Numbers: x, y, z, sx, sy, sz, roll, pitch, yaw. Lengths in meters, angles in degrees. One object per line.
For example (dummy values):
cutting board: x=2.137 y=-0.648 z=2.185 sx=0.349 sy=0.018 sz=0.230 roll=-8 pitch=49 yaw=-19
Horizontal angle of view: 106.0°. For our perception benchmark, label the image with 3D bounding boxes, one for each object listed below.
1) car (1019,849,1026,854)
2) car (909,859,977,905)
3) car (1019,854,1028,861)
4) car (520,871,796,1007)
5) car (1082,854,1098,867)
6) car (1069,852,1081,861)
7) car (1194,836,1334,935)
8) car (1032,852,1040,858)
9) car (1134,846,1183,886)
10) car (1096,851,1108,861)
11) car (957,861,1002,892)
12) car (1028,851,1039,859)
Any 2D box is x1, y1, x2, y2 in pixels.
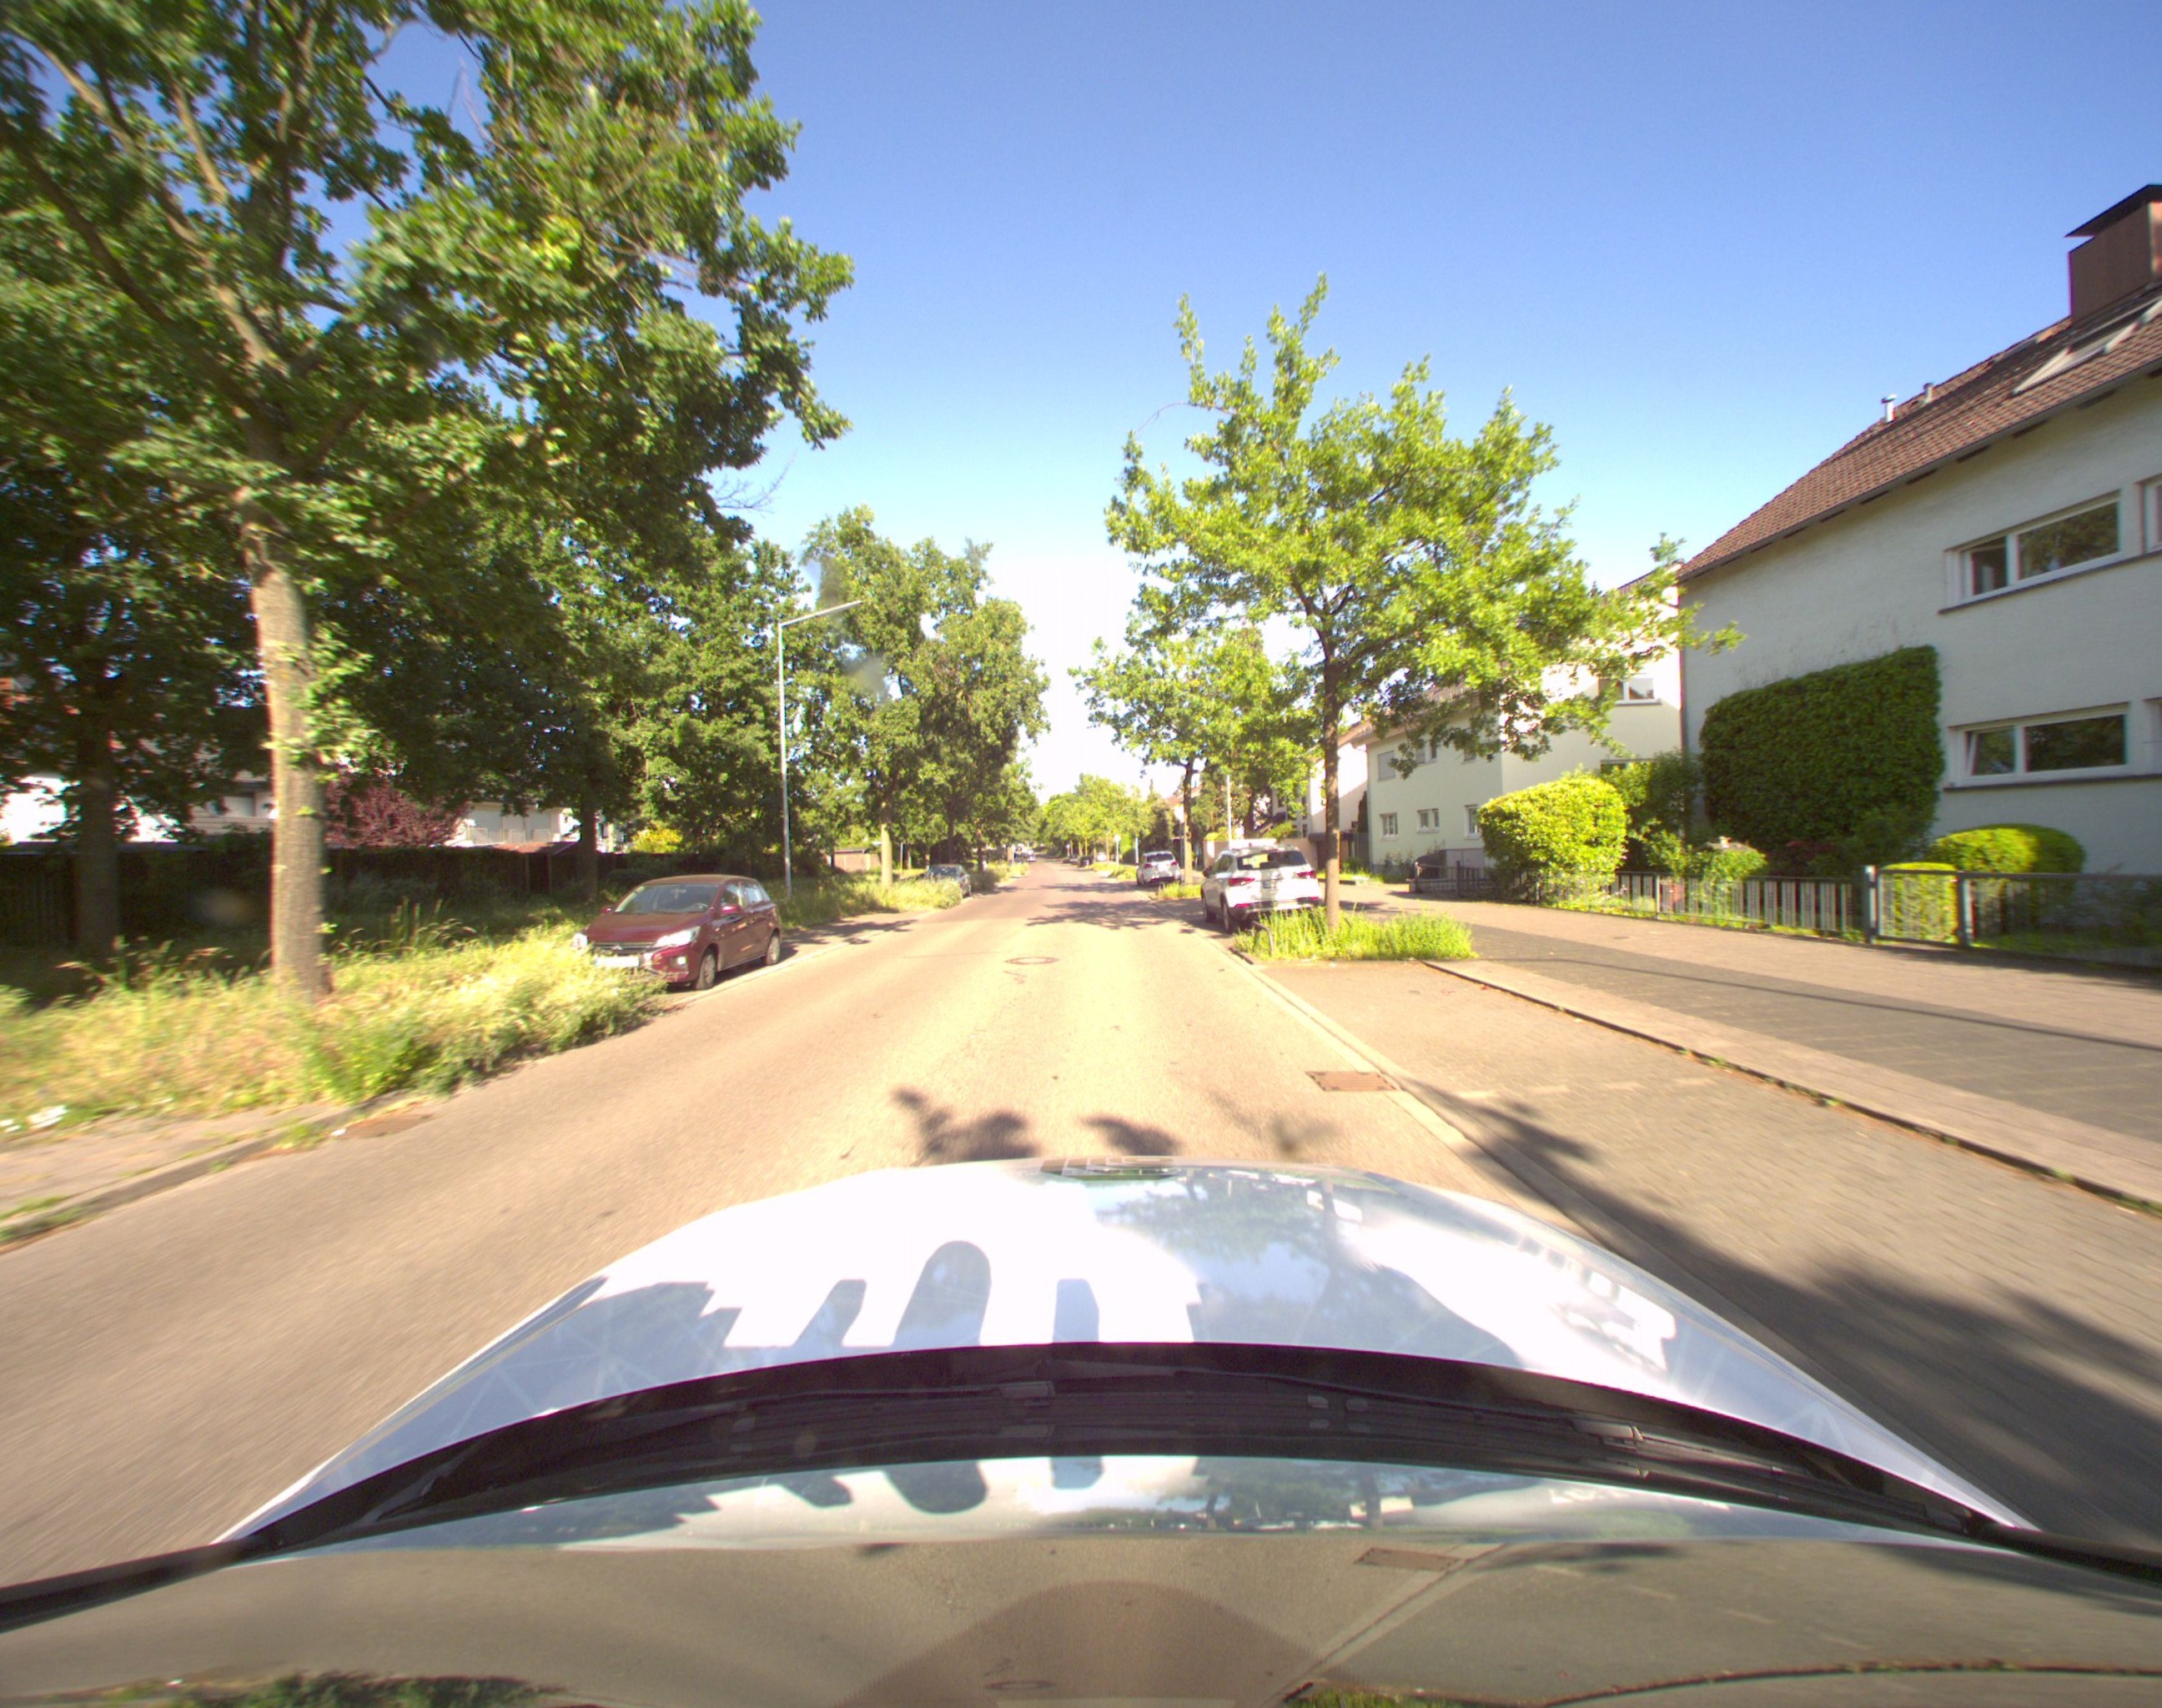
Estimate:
car: x=-16.242 y=-0.744 z=226.510 sx=1.750 sy=1.454 sz=3.998 roll=-2 pitch=0 yaw=-1
car: x=-5.197 y=1.016 z=31.126 sx=1.988 sy=1.556 sz=3.997 roll=-1 pitch=0 yaw=-2
car: x=-12.859 y=0.838 z=182.941 sx=1.750 sy=1.454 sz=3.998 roll=-2 pitch=0 yaw=-1
car: x=-5.812 y=1.070 z=11.855 sx=1.930 sy=1.479 sz=3.998 roll=-2 pitch=0 yaw=-1
car: x=1.192 y=0.827 z=108.226 sx=1.927 sy=1.542 sz=4.000 roll=-2 pitch=0 yaw=0
car: x=-1.082 y=0.378 z=136.810 sx=1.928 sy=1.454 sz=3.998 roll=-2 pitch=0 yaw=-1
car: x=3.552 y=0.561 z=16.586 sx=1.929 sy=1.704 sz=4.000 roll=-2 pitch=0 yaw=0
car: x=-11.896 y=0.205 z=214.306 sx=1.928 sy=1.454 sz=3.998 roll=-2 pitch=0 yaw=-1
car: x=3.667 y=0.551 z=39.177 sx=1.927 sy=1.742 sz=4.000 roll=-2 pitch=0 yaw=0
car: x=3.447 y=0.296 z=134.196 sx=1.928 sy=1.454 sz=3.998 roll=-2 pitch=0 yaw=-1
car: x=-5.326 y=1.141 z=43.139 sx=1.790 sy=1.479 sz=3.521 roll=-2 pitch=0 yaw=1
car: x=-9.192 y=0.137 z=156.843 sx=1.931 sy=1.454 sz=3.992 roll=-2 pitch=0 yaw=-5
